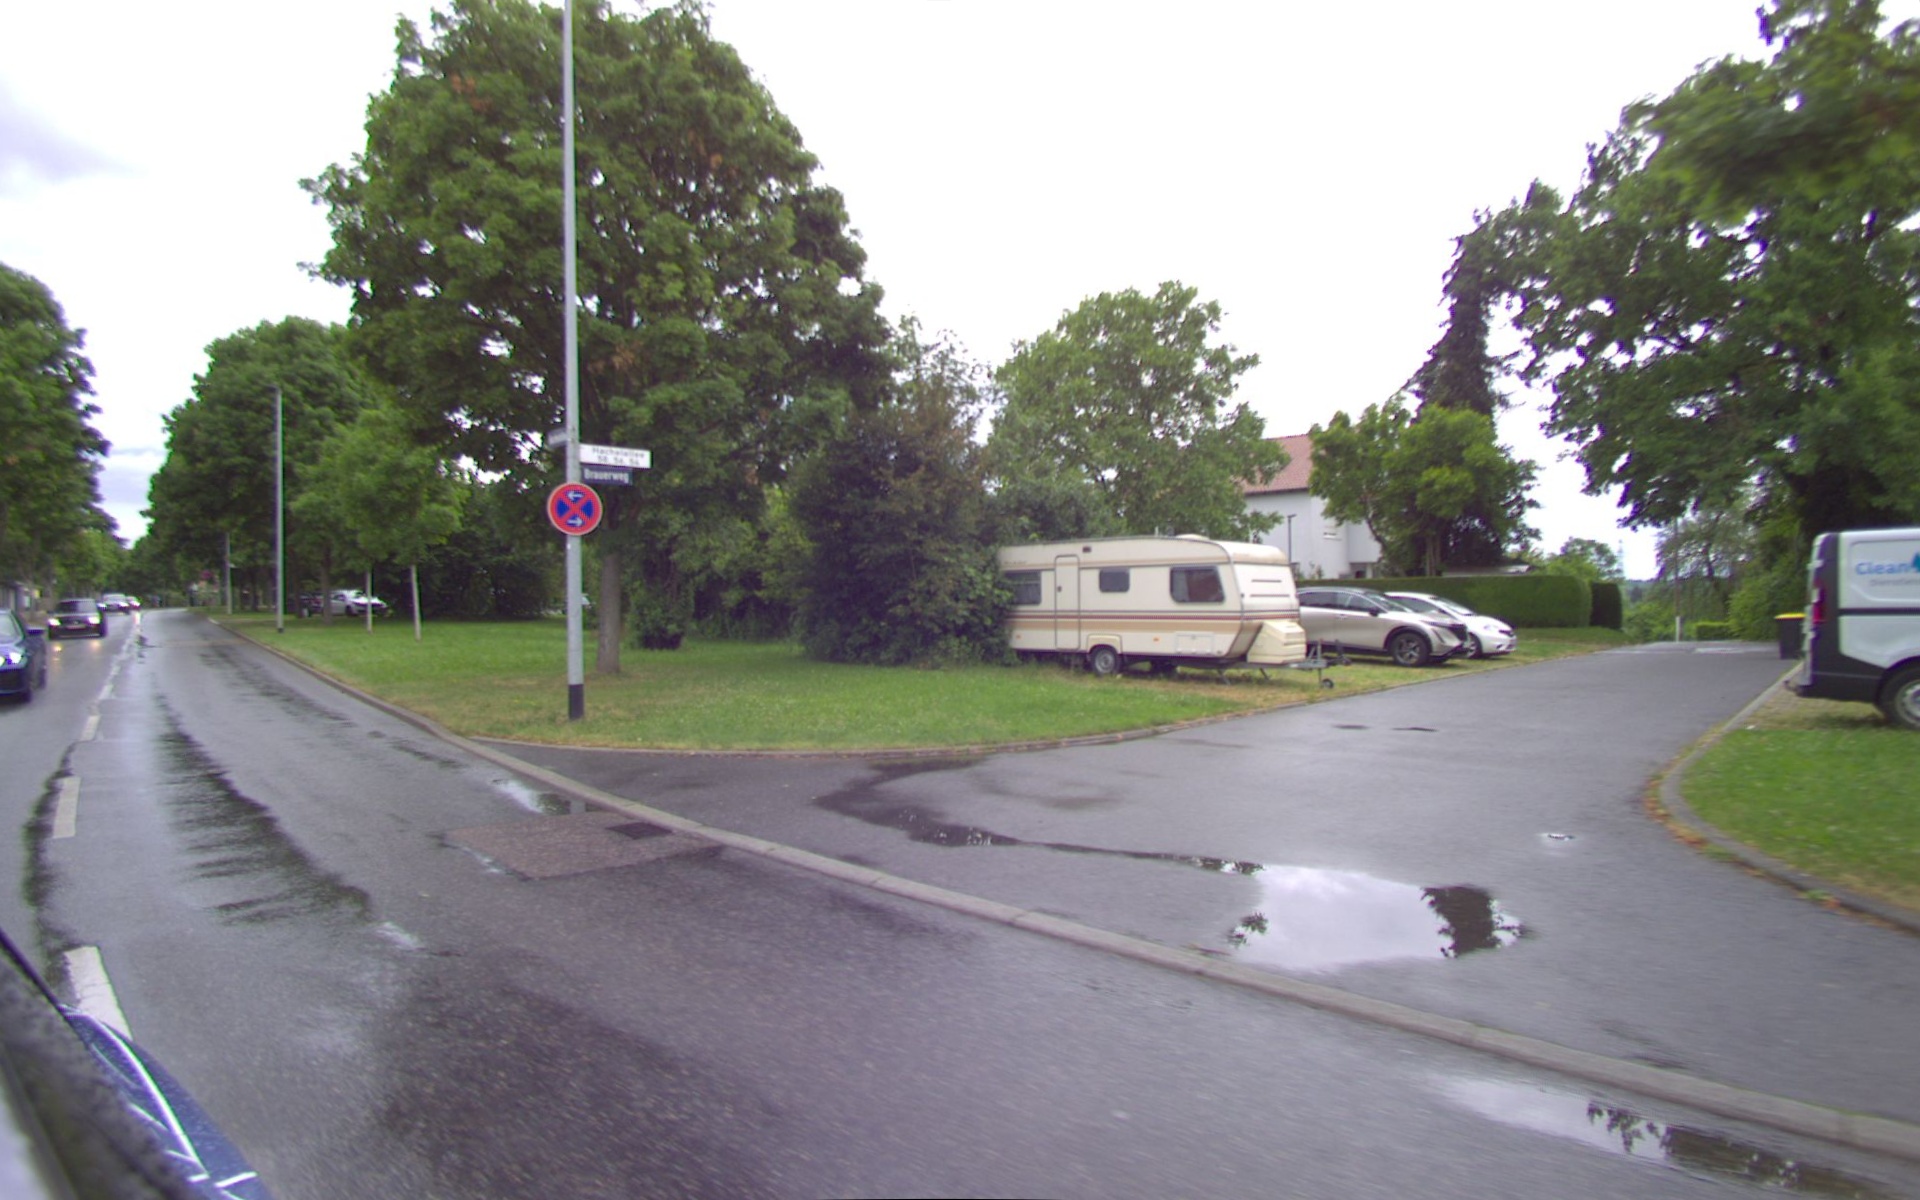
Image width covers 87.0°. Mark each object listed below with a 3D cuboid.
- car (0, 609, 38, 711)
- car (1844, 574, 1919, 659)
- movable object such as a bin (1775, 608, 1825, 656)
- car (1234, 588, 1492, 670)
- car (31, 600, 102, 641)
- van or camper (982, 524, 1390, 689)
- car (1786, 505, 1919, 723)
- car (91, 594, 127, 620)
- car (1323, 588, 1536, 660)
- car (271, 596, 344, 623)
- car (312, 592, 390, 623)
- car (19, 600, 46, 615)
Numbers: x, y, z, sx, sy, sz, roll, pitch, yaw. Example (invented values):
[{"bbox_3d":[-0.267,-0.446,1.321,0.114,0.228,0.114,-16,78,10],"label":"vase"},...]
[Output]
[{"bbox_3d":[-15.786,0.884,15.868,1.788,1.479,3.981,0,0,-40],"label":"car"},{"bbox_3d":[19.006,0.204,18.254,4.476,1.521,2.106,-4,-2,40],"label":"car"},{"bbox_3d":[17.403,0.664,20.963,0.755,0.982,0.537,-3,-2,41],"label":"movable object such as a bin"},{"bbox_3d":[8.748,0.544,22.339,5.005,1.548,1.770,2,2,44],"label":"car"},{"bbox_3d":[-34.709,0.749,39.344,1.901,1.392,4.314,-4,3,-41],"label":"car"},{"bbox_3d":[3.688,0.100,17.854,6.812,2.378,2.358,0,0,44],"label":"van or camper"},{"bbox_3d":[10.922,0.033,8.963,5.470,2.001,2.106,-4,-3,40],"label":"car"},{"bbox_3d":[-66.465,0.501,79.093,1.969,1.872,4.007,-4,3,-39],"label":"car"},{"bbox_3d":[11.311,0.503,24.564,4.354,1.593,1.832,1,1,45],"label":"car"},{"bbox_3d":[-39.412,0.557,61.110,4.228,1.525,1.877,0,0,27],"label":"car"},{"bbox_3d":[-31.758,0.393,52.761,4.205,1.441,1.866,-3,-1,34],"label":"car"},{"bbox_3d":[-94.516,0.767,103.139,1.641,1.432,4.008,-4,2,-38],"label":"car"}]
